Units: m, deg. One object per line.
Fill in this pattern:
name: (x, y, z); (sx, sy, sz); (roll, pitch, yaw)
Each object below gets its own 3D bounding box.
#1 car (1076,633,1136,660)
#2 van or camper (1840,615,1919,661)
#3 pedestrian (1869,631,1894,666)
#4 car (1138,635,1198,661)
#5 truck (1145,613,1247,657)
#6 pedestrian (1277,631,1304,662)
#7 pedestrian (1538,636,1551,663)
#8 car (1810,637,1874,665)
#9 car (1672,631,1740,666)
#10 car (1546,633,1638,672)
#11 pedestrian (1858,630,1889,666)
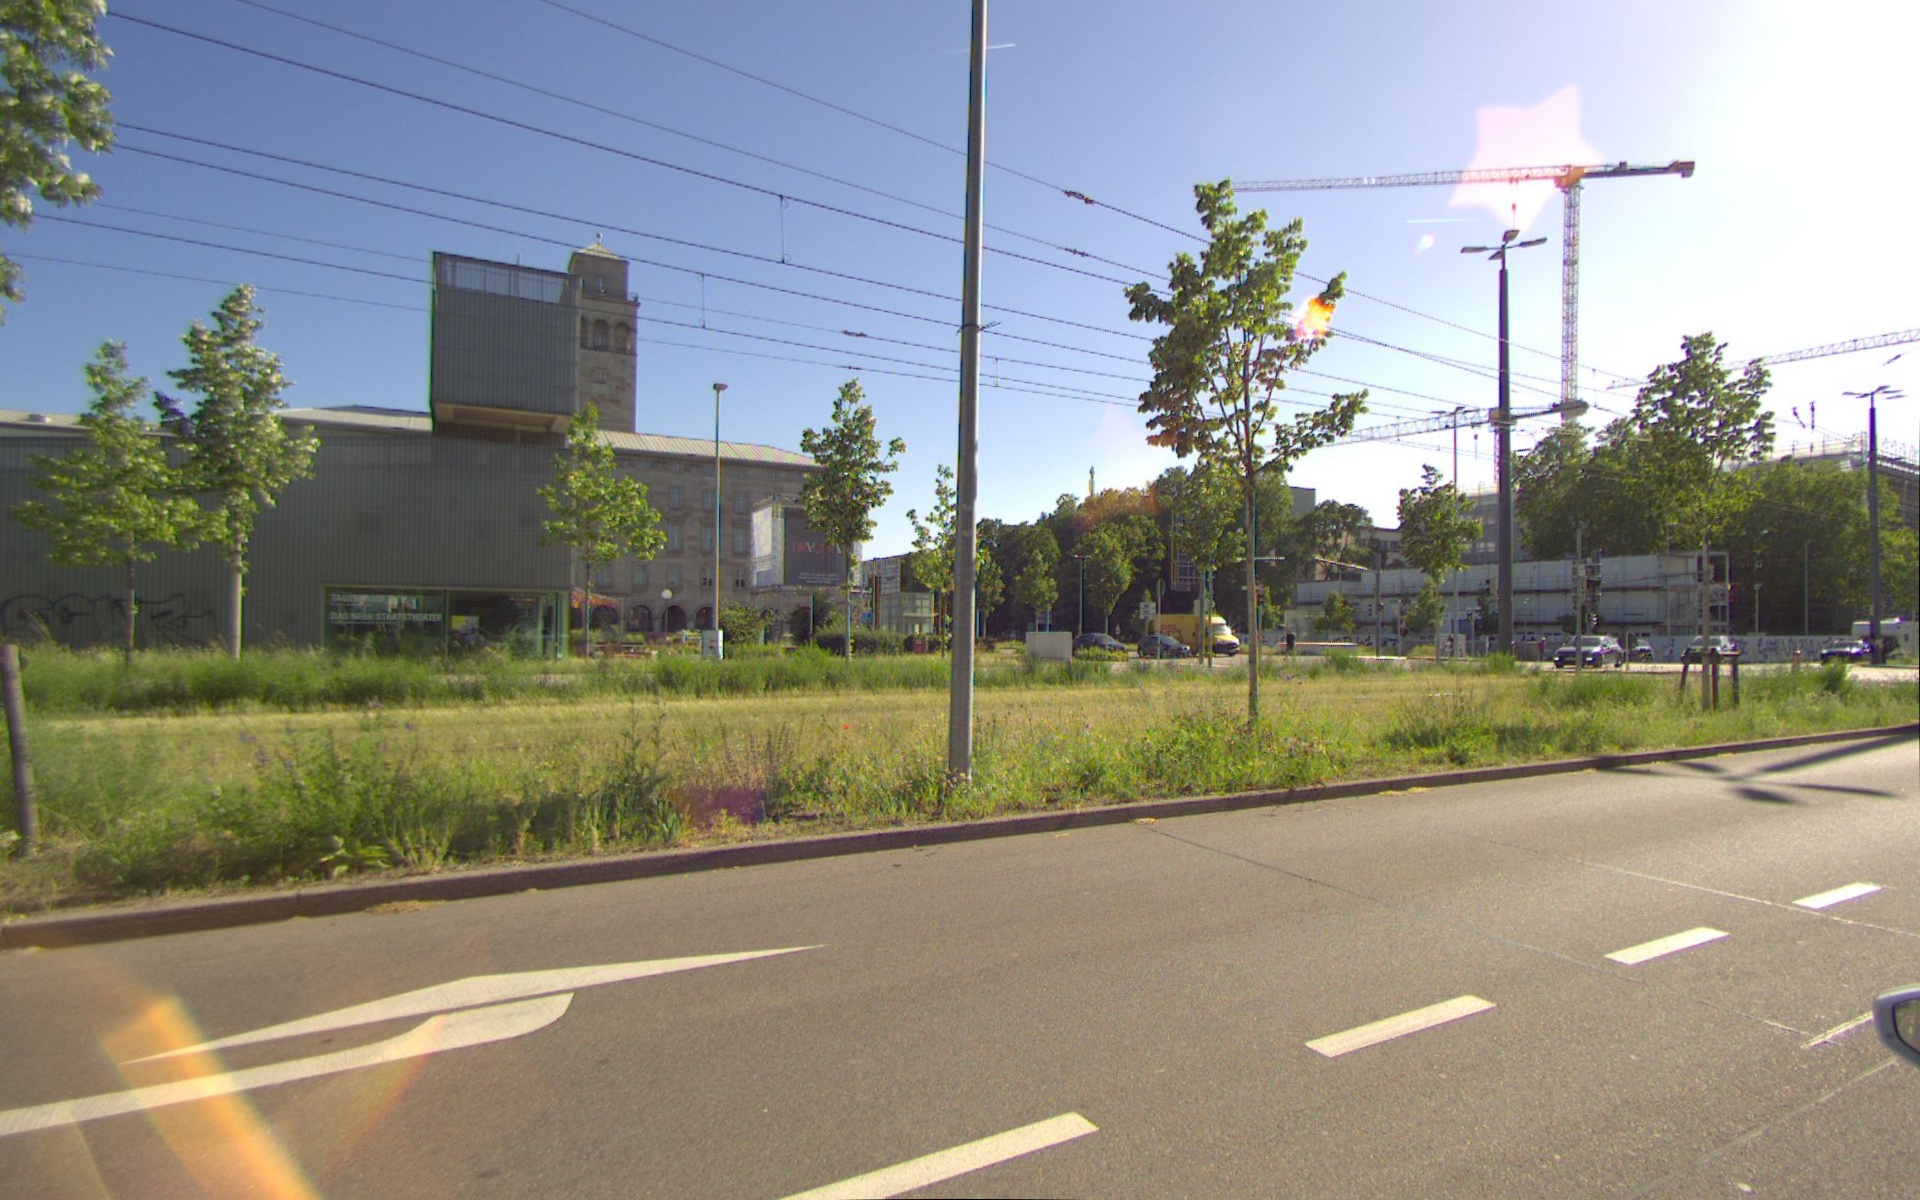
car: (9.173, 2.913, 63.333); (1.878, 1.559, 3.976); (1, -2, -25)
van or camper: (62.700, 2.593, 68.135); (7.261, 2.976, 2.591); (2, -2, -32)
pedestrian: (49.714, 2.598, 54.188); (0.966, 1.847, 0.795); (1, -1, -33)
car: (13.480, 3.085, 65.246); (1.878, 1.559, 3.976); (1, -2, -25)
truck: (16.010, 2.364, 68.702); (2.429, 2.829, 7.985); (1, -2, -25)
pedestrian: (18.950, 2.650, 57.557); (0.935, 1.708, 1.187); (0, 0, -28)
pedestrian: (40.697, 3.452, 69.984); (0.687, 1.847, 0.595); (0, -1, 22)
car: (55.769, 3.219, 63.490); (4.319, 1.730, 1.935); (2, -2, -32)
car: (43.657, 2.793, 58.779); (3.954, 1.981, 1.861); (1, -2, -31)
car: (28.951, 2.375, 45.992); (4.040, 1.711, 1.819); (1, -1, -28)
pedestrian: (48.157, 2.521, 52.962); (0.864, 1.847, 0.803); (0, -1, 2)
